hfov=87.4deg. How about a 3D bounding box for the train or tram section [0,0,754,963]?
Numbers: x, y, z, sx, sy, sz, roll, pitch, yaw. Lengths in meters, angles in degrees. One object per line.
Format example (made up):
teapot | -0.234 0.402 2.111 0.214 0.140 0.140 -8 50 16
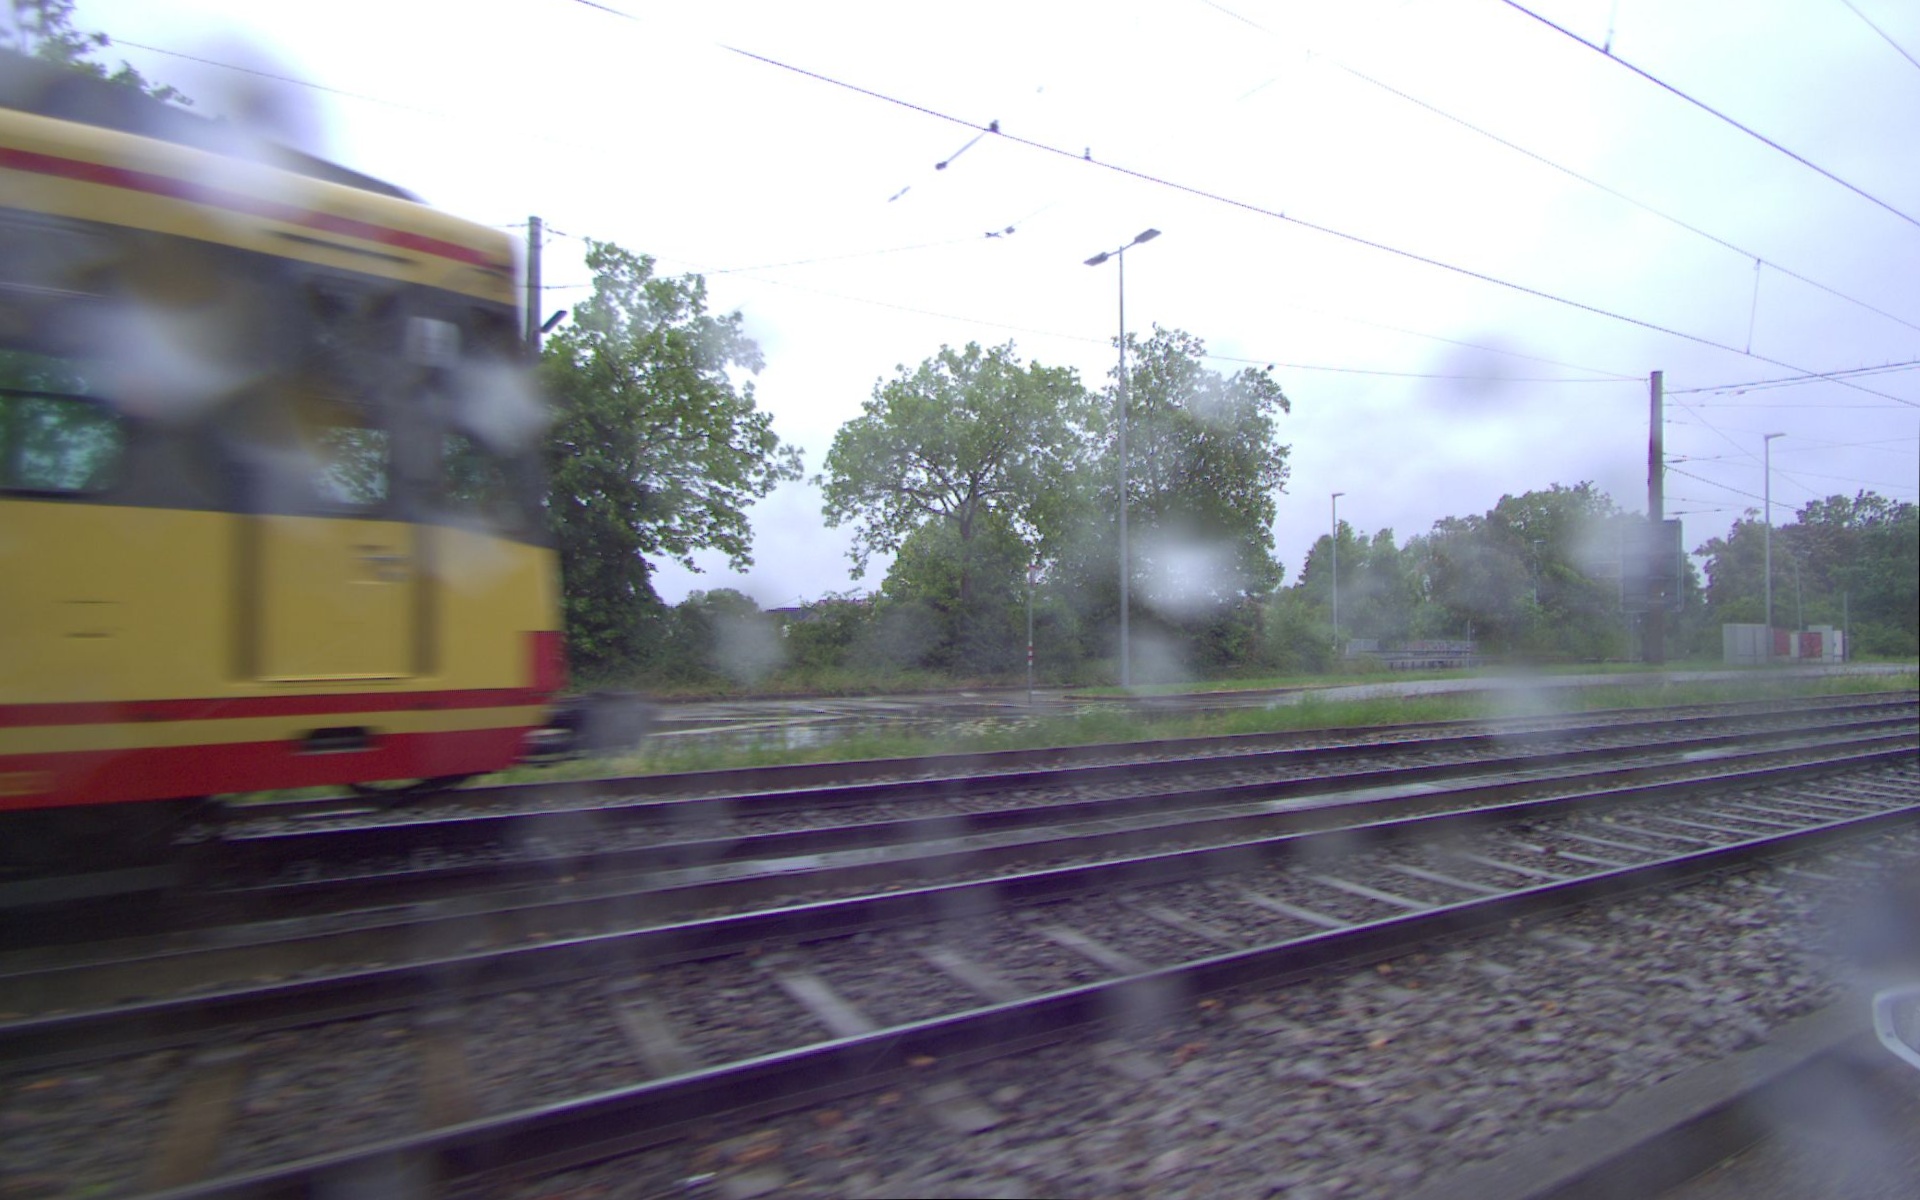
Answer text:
train or tram section | -6.222 -0.750 4.072 10.148 4.204 2.798 2 -1 -30
